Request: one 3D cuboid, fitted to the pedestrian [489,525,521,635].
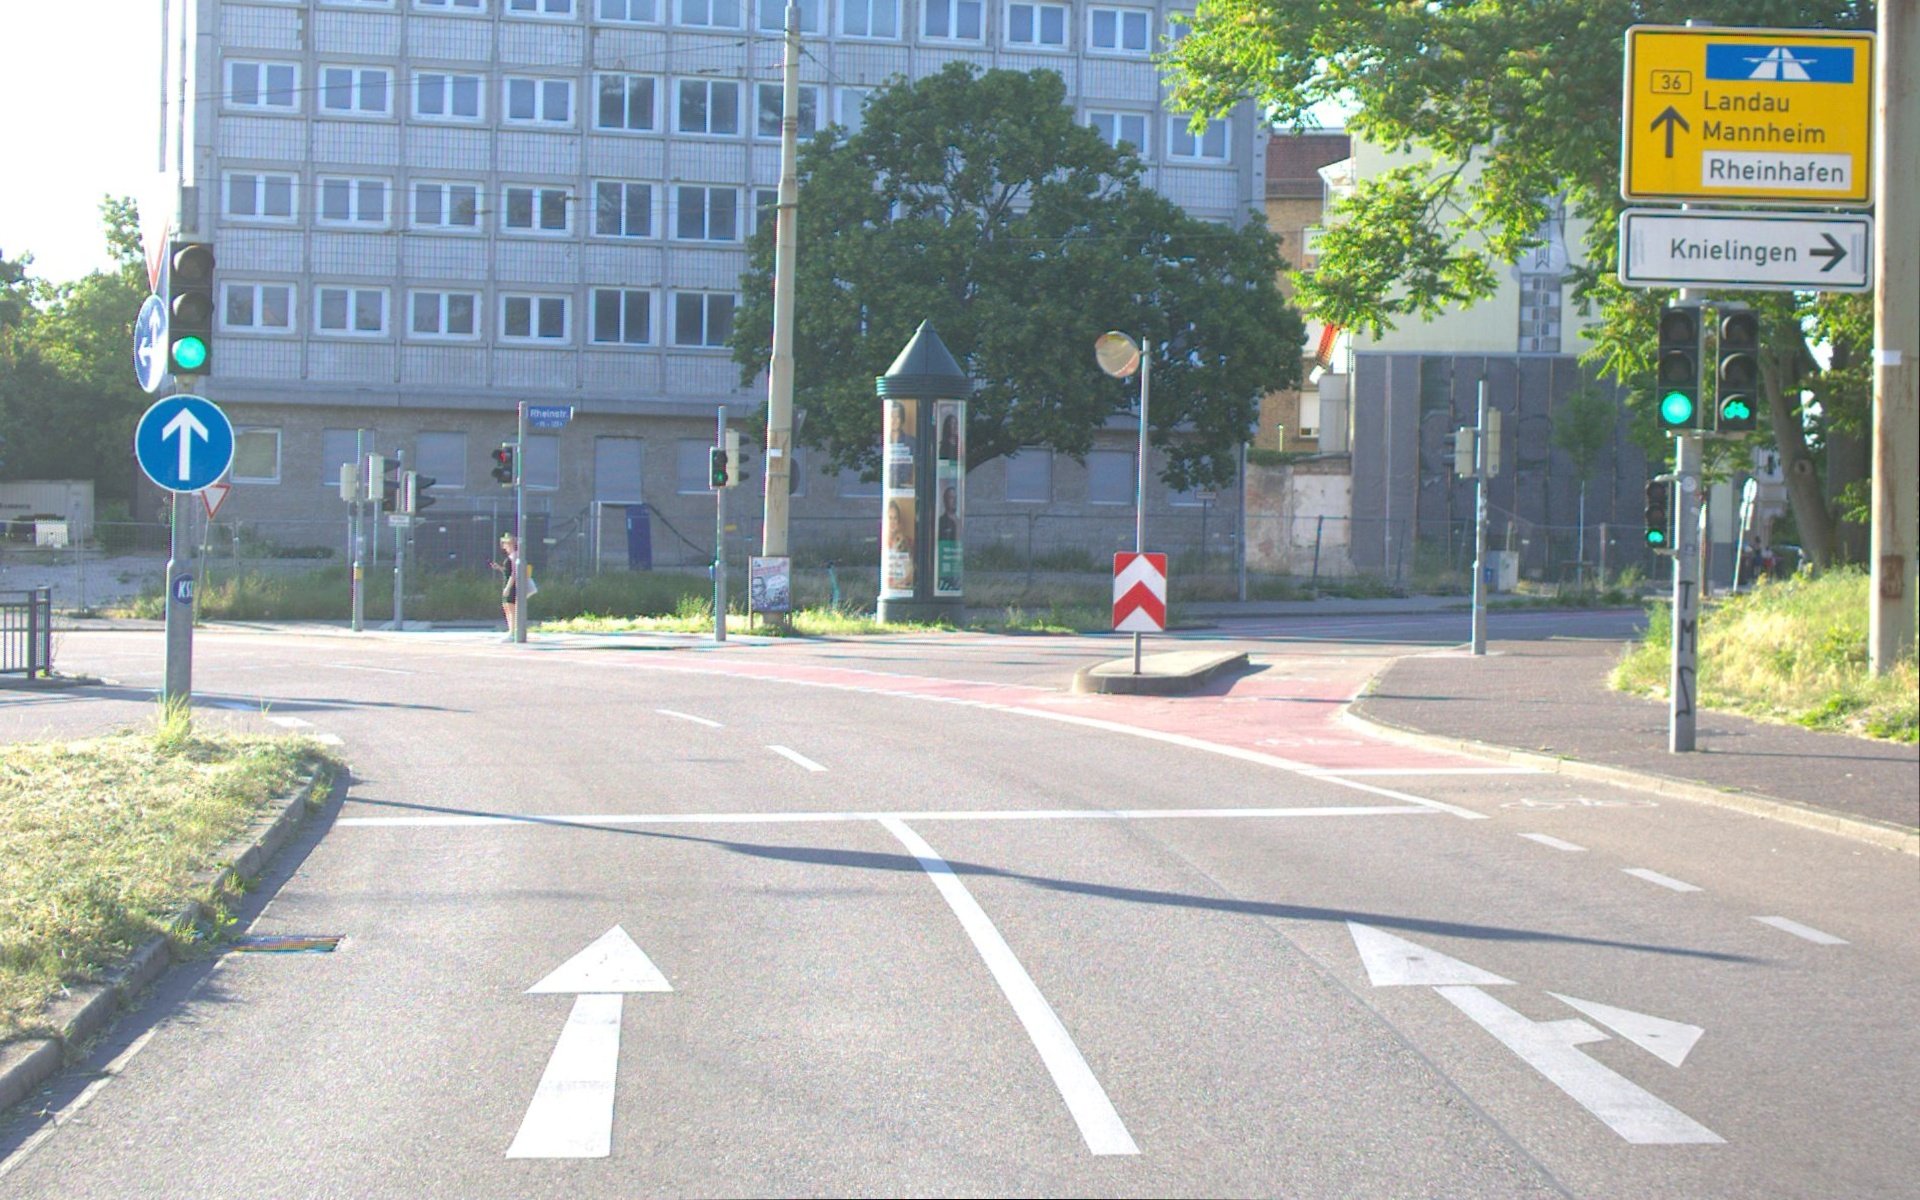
[{"bbox_3d":[-6.718,-0.300,50.788,0.436,1.607,0.630,0,1,-5],"label":"pedestrian"}]

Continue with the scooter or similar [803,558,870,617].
[{"bbox_3d":[-2.474,-0.246,68.829,1.296,1.166,0.327,0,1,-14],"label":"scooter or similar"}]

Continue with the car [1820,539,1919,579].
[{"bbox_3d":[30.634,-1.362,114.748,3.703,1.296,1.510,1,1,15],"label":"car"}]
